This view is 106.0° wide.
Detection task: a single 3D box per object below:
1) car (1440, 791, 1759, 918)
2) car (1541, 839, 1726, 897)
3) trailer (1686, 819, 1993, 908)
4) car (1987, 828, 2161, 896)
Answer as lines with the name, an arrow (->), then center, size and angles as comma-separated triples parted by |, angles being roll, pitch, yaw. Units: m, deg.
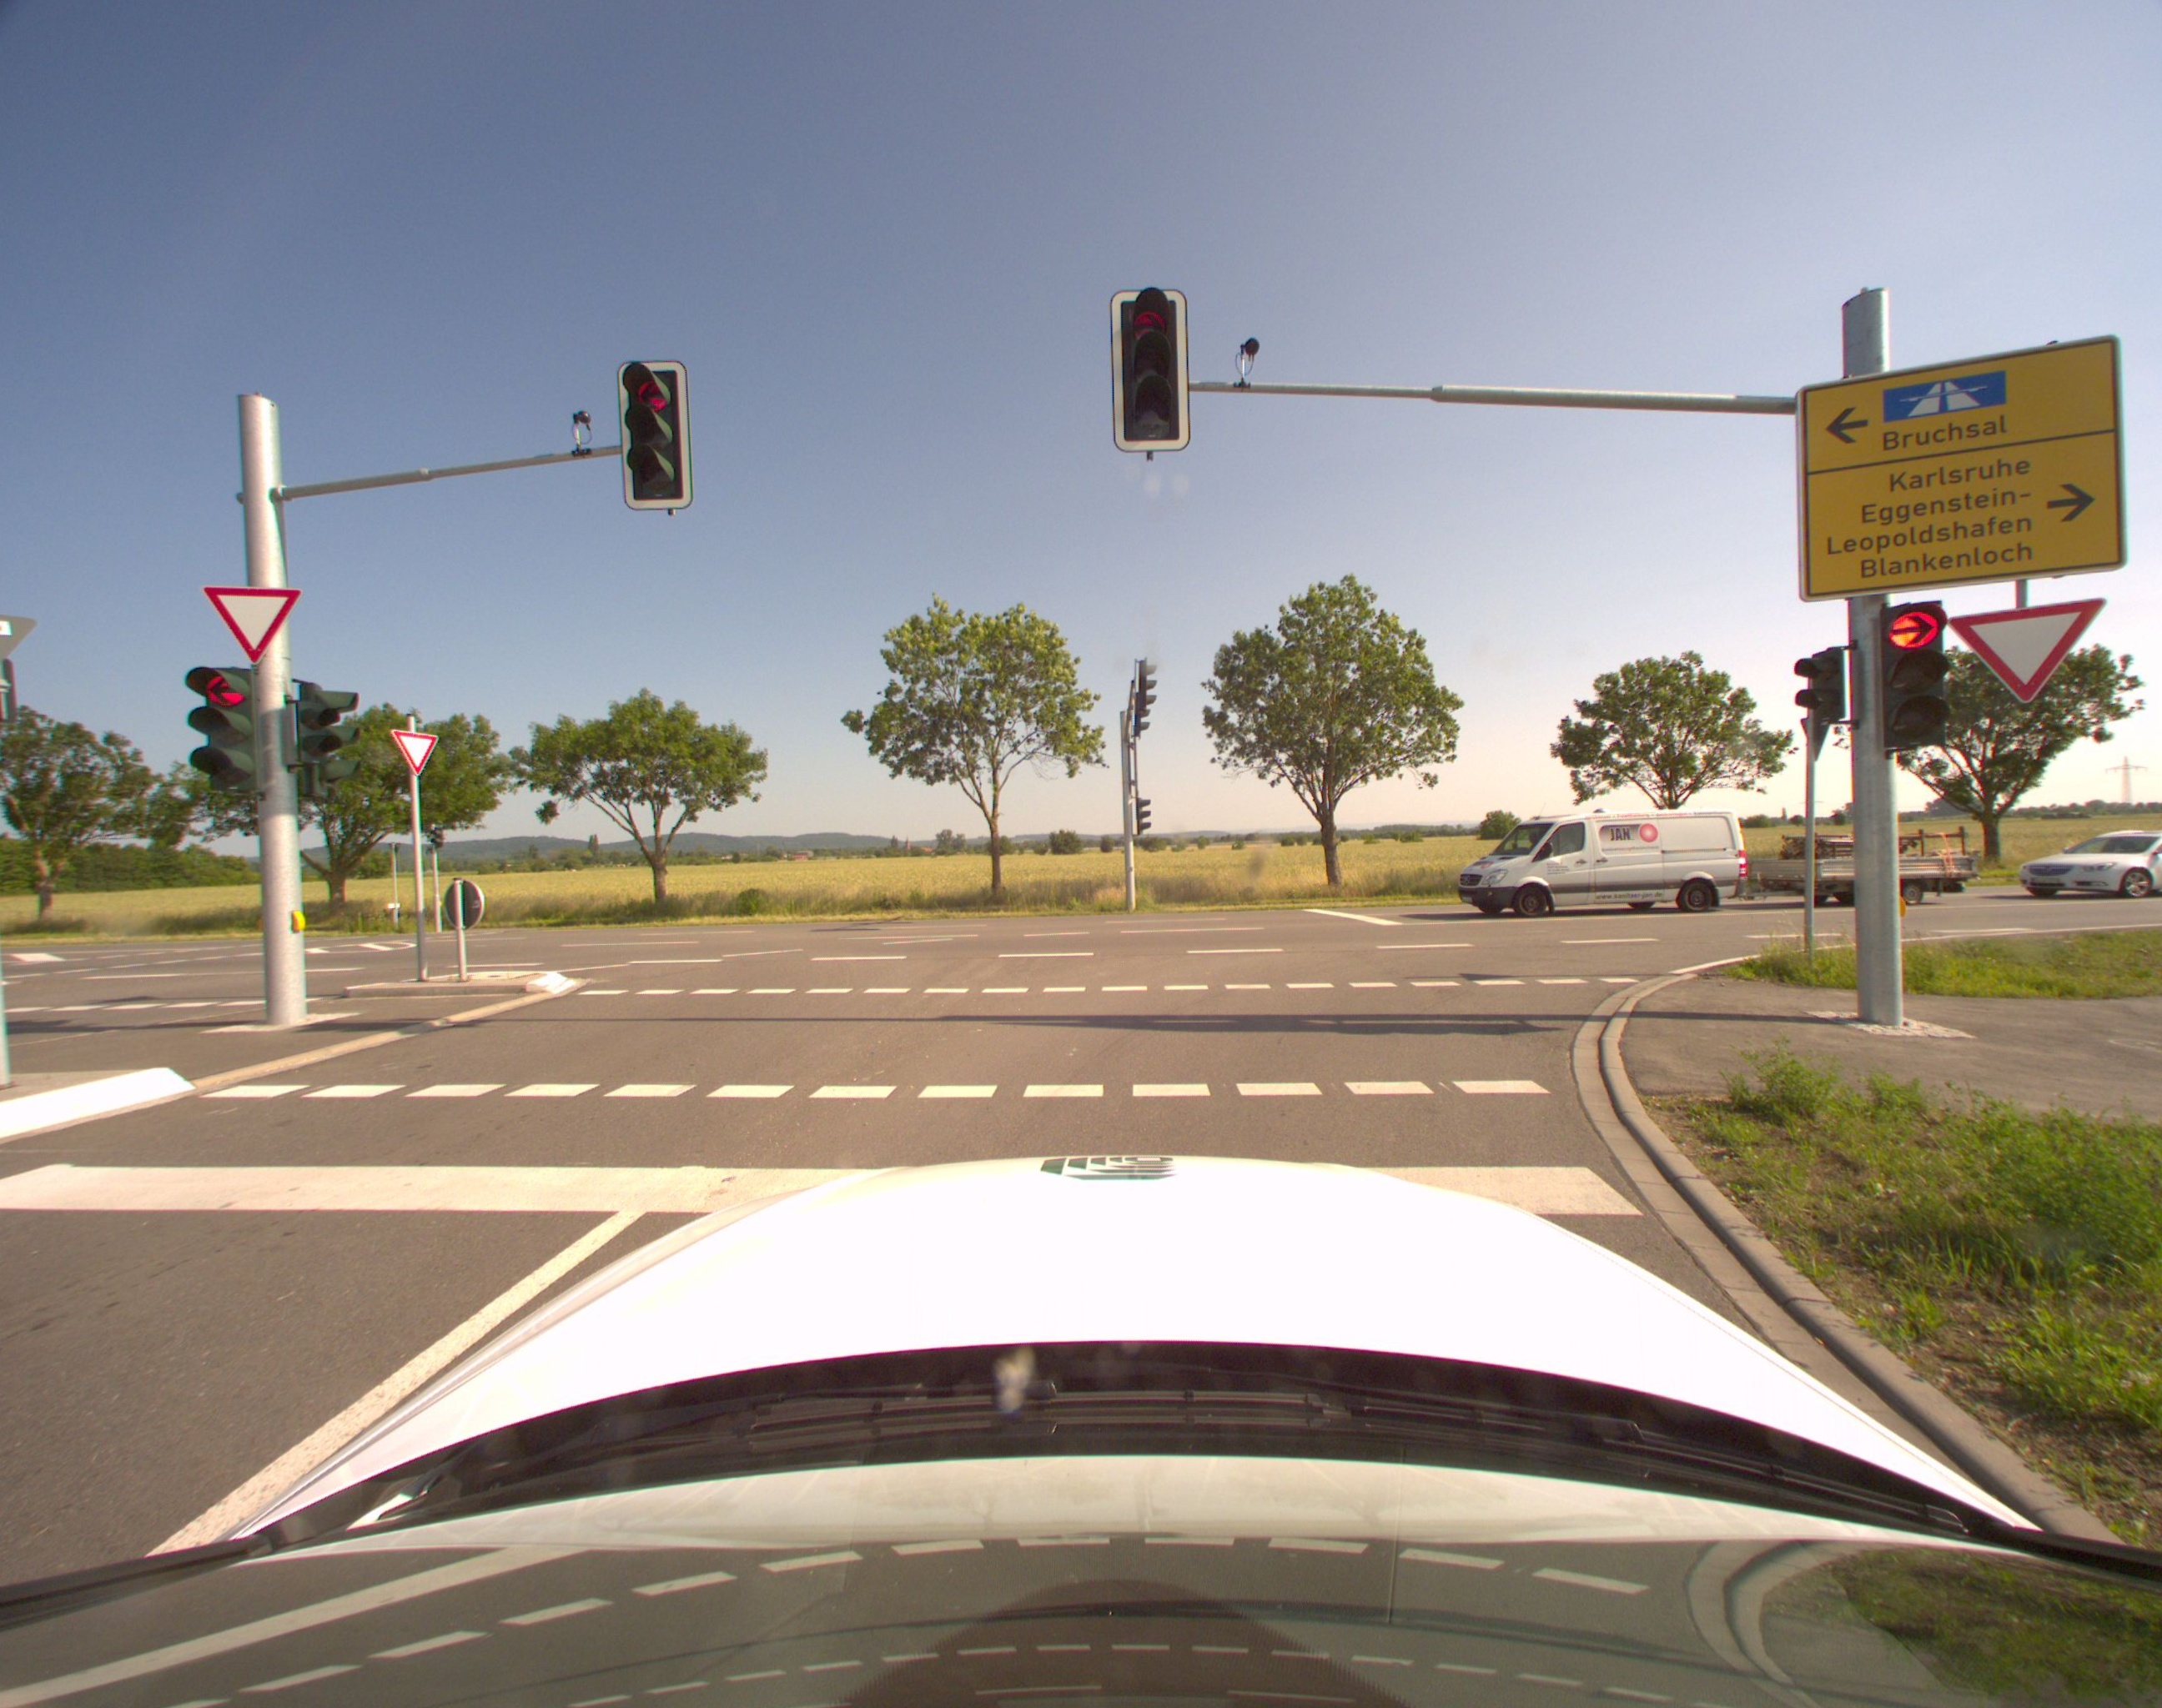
car -> 11.665, 0.022, 18.628 | 5.938, 2.493, 2.000 | -2, -1, 0
car -> 15.644, 0.362, 23.192 | 3.979, 1.501, 1.998 | -1, 1, -4
trailer -> 17.259, 0.212, 18.719 | 5.245, 1.753, 1.953 | -2, -1, -1
car -> 24.648, 0.182, 19.076 | 4.858, 1.510, 1.997 | 0, -1, -4
